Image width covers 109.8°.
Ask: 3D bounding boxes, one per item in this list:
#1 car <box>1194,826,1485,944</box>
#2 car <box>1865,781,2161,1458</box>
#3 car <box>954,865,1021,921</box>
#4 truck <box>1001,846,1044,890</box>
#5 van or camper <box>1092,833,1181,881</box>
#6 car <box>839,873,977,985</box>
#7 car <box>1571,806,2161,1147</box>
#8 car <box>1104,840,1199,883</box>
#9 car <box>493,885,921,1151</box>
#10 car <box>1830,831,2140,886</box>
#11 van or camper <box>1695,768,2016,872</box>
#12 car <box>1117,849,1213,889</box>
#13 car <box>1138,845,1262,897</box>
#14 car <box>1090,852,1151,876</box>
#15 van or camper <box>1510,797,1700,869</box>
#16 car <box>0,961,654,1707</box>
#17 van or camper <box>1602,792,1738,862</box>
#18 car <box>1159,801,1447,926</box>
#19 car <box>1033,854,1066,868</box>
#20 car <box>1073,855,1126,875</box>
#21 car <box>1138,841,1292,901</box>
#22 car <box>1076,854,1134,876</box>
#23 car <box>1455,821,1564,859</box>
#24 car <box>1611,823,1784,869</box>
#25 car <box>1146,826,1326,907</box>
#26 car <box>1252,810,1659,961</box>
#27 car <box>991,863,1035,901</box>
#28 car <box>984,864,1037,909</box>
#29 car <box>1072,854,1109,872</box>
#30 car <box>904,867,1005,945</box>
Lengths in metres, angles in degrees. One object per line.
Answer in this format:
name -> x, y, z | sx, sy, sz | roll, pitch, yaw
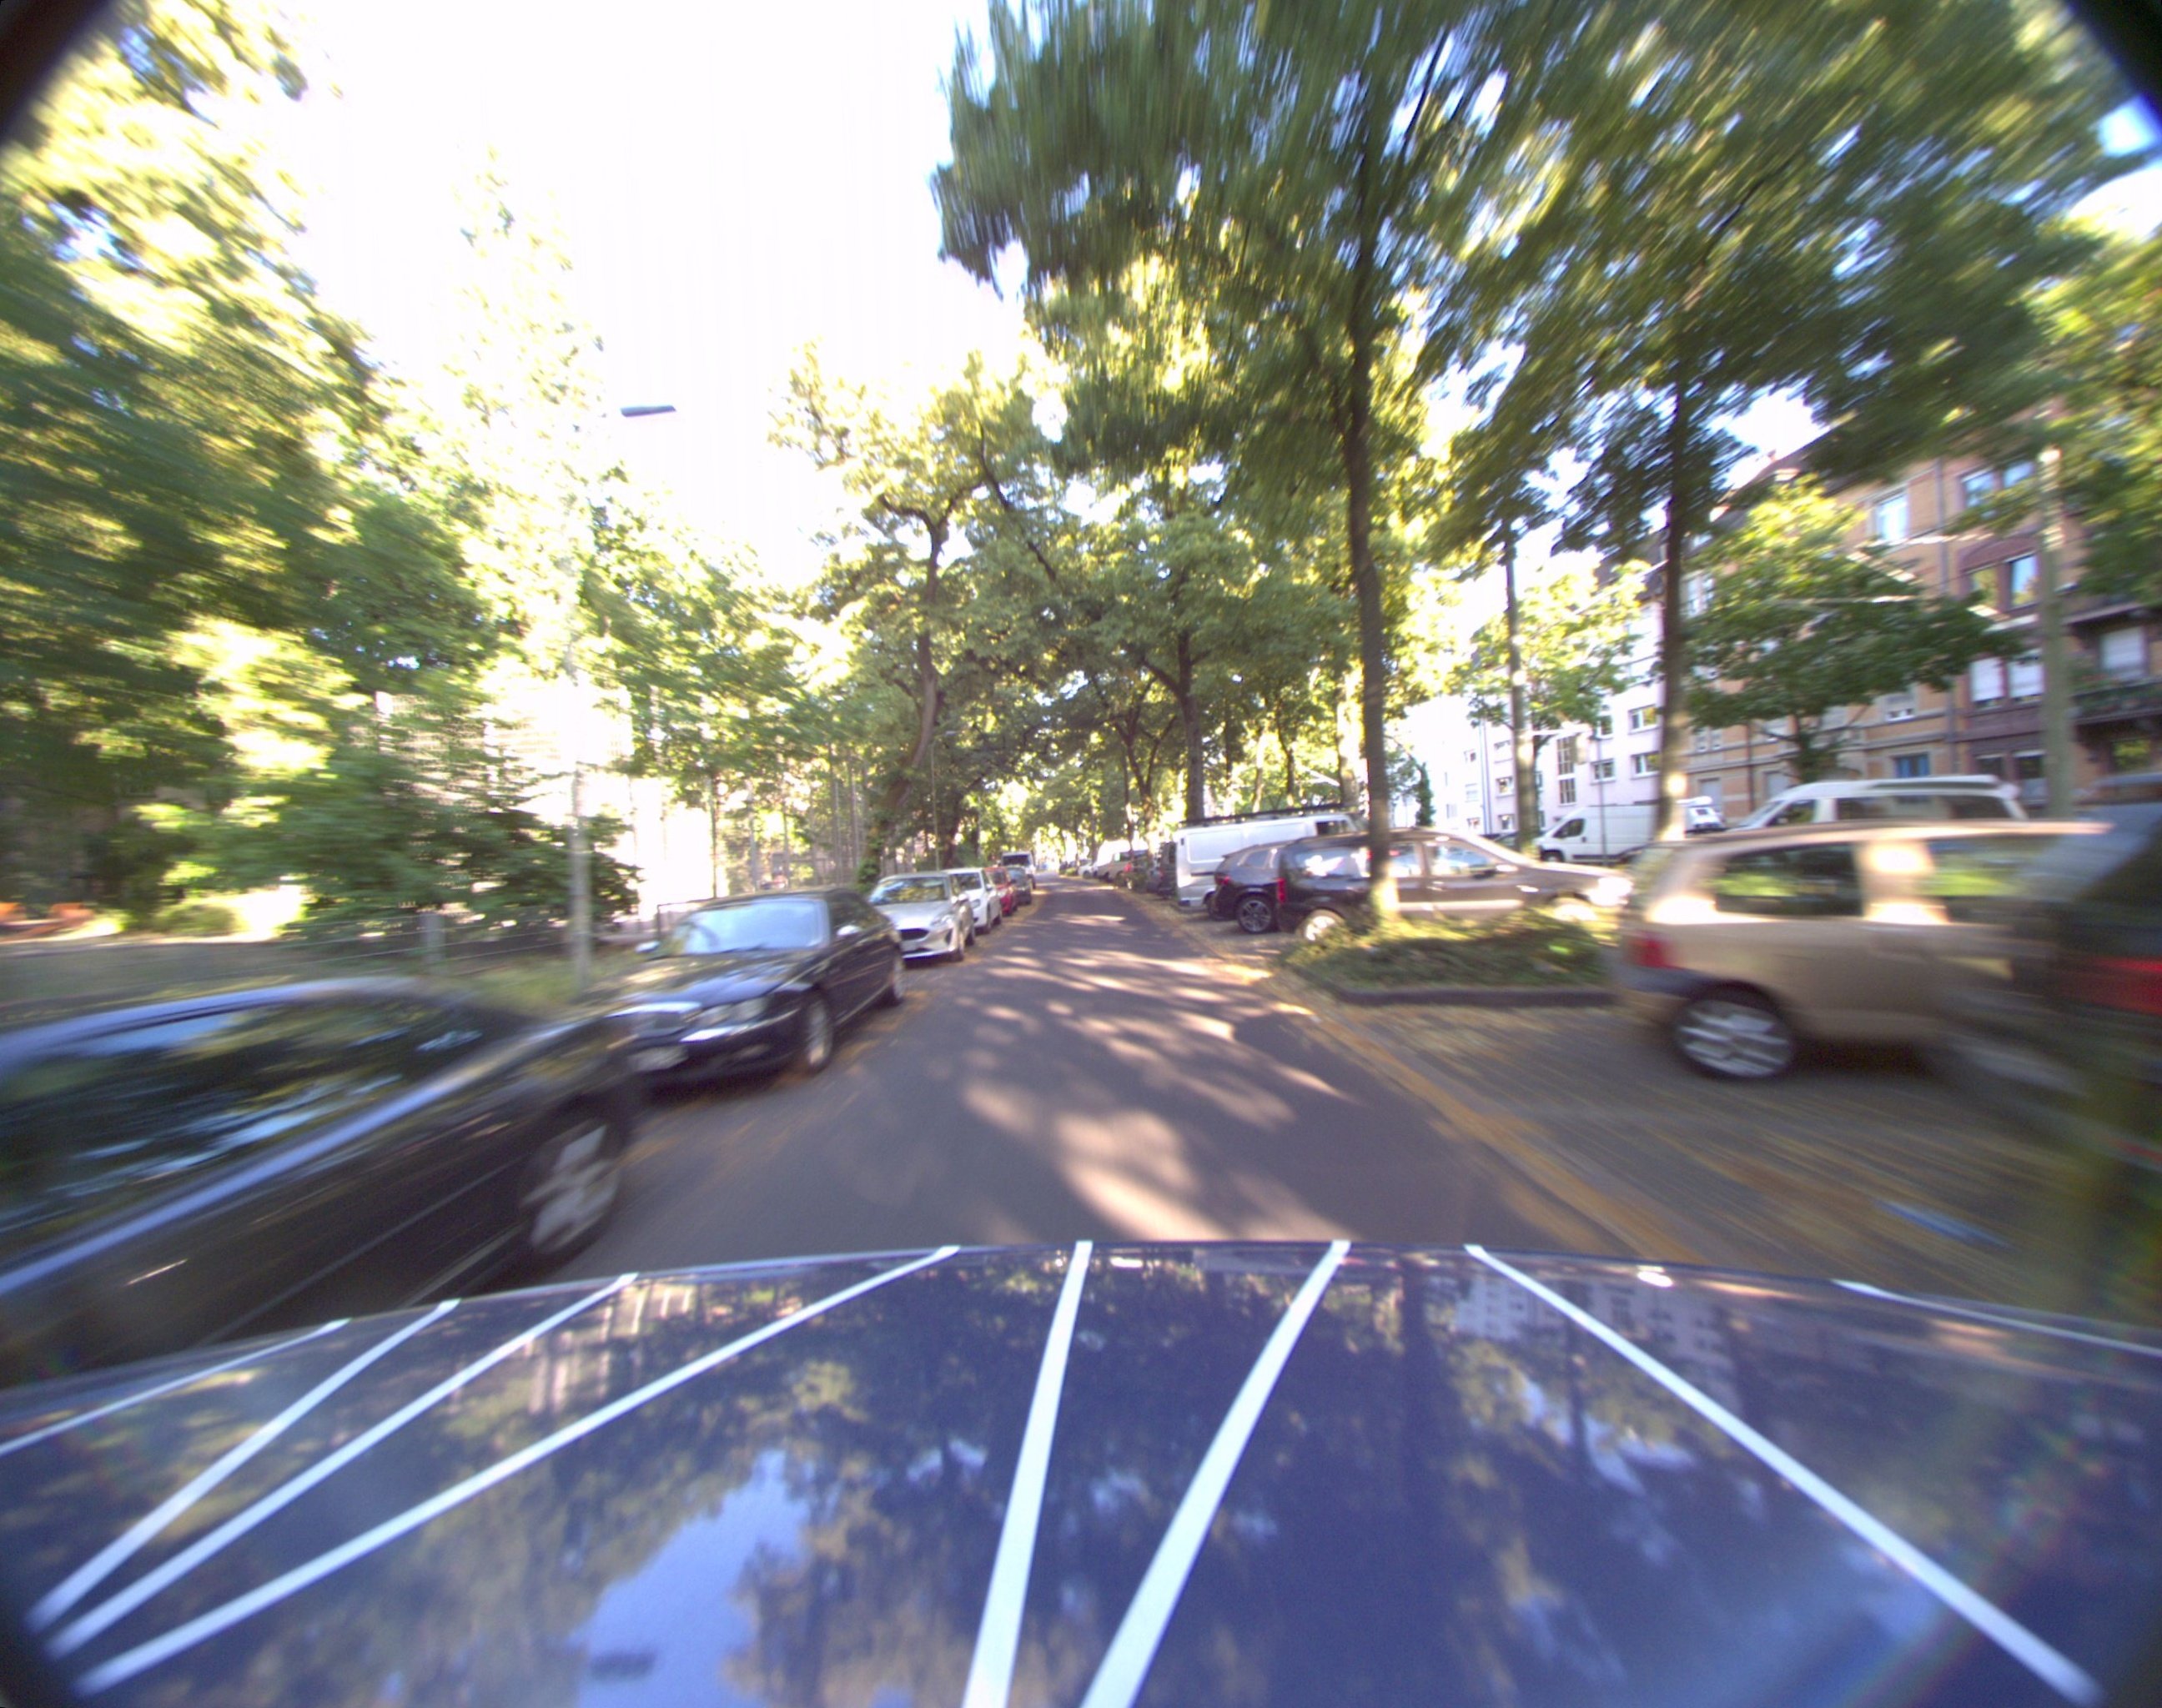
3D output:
car -> 4.560, 0.557, 13.652 | 4.510, 1.607, 1.937 | -6, 0, 23
car -> 4.800, 0.477, 1.465 | 4.151, 1.635, 1.918 | -6, 0, 32
car -> -2.781, 1.128, 23.259 | 1.595, 1.445, 3.554 | -3, 0, -1
truck -> -3.509, 0.809, 46.769 | 2.302, 2.372, 6.932 | -3, 0, -3
van or camper -> 3.425, 0.195, 47.036 | 4.876, 2.456, 2.048 | -5, 1, 26
car -> -2.787, 1.133, 13.078 | 1.685, 1.445, 4.074 | -3, 0, -5
car -> 4.937, 0.580, 4.337 | 3.420, 1.417, 1.837 | -6, 0, 30
car -> 4.033, 0.454, 43.759 | 4.875, 1.966, 2.048 | -6, 1, 28
car -> -2.881, 1.150, 7.199 | 1.685, 1.415, 4.658 | -3, 0, 0
car -> 20.215, 0.123, 17.290 | 4.157, 1.091, 1.830 | -2, 0, 26
van or camper -> 20.294, -0.792, 20.371 | 5.538, 2.357, 2.311 | -2, 0, 26
car -> 3.839, 0.697, 34.908 | 3.816, 1.430, 1.828 | -6, 0, 33
car -> 4.406, 0.633, 28.287 | 4.084, 1.479, 1.786 | -6, 0, 30
car -> 3.065, 0.784, 58.880 | 4.235, 1.432, 1.859 | -6, 0, 24
van or camper -> 19.882, -0.743, 29.188 | 5.664, 2.454, 2.003 | -2, 0, 23
car -> -2.880, 1.200, 1.497 | 1.685, 1.275, 4.286 | -3, 0, -2
van or camper -> 28.035, -1.203, 36.463 | 2.080, 3.091, 5.513 | -1, 0, -3
car -> 4.746, 0.252, 16.503 | 5.502, 2.124, 2.084 | -6, 1, 29
car -> -4.711, 1.061, 113.357 | 4.435, 1.613, 1.636 | -6, 1, 15
car -> 1.660, 0.992, 68.087 | 4.305, 1.396, 1.746 | -6, -1, 21
car -> 4.459, 0.598, 25.455 | 4.561, 1.532, 1.937 | -6, 0, 32
car -> 2.070, 0.953, 65.251 | 4.457, 1.396, 1.859 | -6, -1, 24
car -> 20.021, -0.621, 35.543 | 4.313, 1.573, 1.910 | -2, 0, 32
car -> 20.639, -0.239, 25.698 | 4.313, 1.354, 1.734 | -2, 0, 32
car -> 4.576, 0.387, 22.696 | 4.702, 1.931, 1.937 | -6, 1, 32
car -> 4.896, 0.473, 10.382 | 4.509, 1.607, 1.857 | -6, 0, 31
car -> -2.946, 1.196, 33.723 | 1.677, 1.445, 3.948 | -3, 0, -2
car -> -2.548, 1.160, 28.394 | 1.677, 1.445, 3.948 | -3, 0, -2
car -> 0.970, 0.915, 77.139 | 3.347, 1.558, 1.574 | -6, 0, 22
car -> -2.825, 1.114, 17.809 | 1.685, 1.445, 4.075 | -3, 0, -1
